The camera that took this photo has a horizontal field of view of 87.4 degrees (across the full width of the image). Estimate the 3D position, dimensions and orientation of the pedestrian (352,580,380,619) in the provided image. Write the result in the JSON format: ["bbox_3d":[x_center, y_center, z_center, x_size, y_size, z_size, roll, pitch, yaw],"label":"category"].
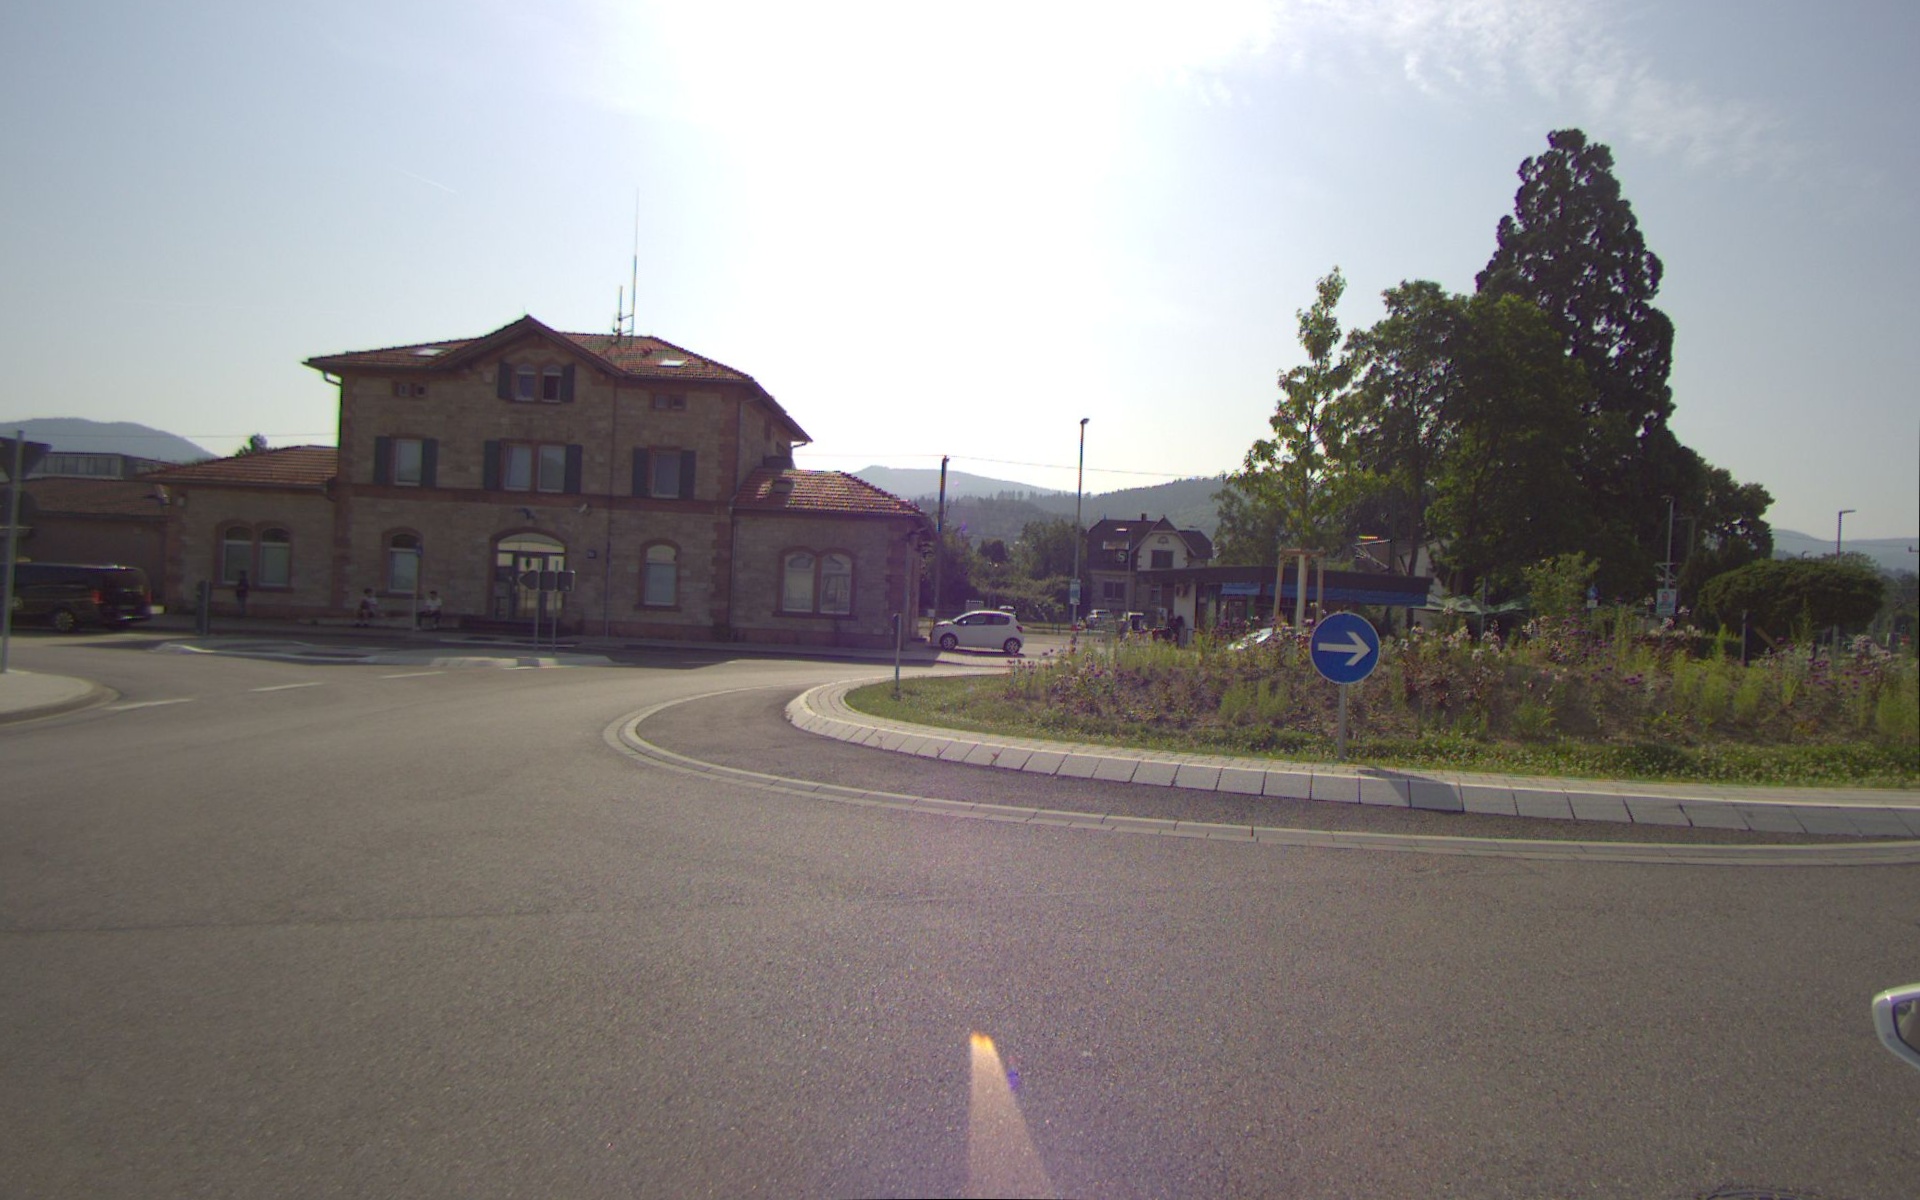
[{"bbox_3d":[-19.189,-0.016,32.475,0.573,1.220,0.443,3,-1,-3],"label":"pedestrian"}]

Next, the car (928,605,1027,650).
[{"bbox_3d":[0.615,0.981,36.575,3.470,1.469,1.392,2,0,-4],"label":"car"}]

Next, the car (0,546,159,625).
[{"bbox_3d":[-25.578,-0.437,28.054,4.787,1.971,1.845,3,-1,-1],"label":"car"}]

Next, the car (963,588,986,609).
[{"bbox_3d":[1.186,-0.089,82.827,1.581,1.554,3.581,3,-1,-2],"label":"car"}]

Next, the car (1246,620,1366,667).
[{"bbox_3d":[9.945,1.255,28.880,3.200,1.187,1.384,2,0,-25],"label":"car"}]

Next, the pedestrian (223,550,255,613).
[{"bbox_3d":[-23.981,-0.617,33.433,0.566,2.040,0.530,3,-1,15],"label":"pedestrian"}]

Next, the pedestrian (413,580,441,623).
[{"bbox_3d":[-17.193,0.055,32.413,0.541,1.367,0.566,3,-1,0],"label":"pedestrian"}]

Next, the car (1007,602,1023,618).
[{"bbox_3d":[5.073,0.910,92.506,1.365,1.382,3.539,2,0,4],"label":"car"}]

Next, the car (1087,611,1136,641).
[{"bbox_3d":[7.423,1.252,49.342,1.390,1.344,3.591,3,0,-7],"label":"car"}]
